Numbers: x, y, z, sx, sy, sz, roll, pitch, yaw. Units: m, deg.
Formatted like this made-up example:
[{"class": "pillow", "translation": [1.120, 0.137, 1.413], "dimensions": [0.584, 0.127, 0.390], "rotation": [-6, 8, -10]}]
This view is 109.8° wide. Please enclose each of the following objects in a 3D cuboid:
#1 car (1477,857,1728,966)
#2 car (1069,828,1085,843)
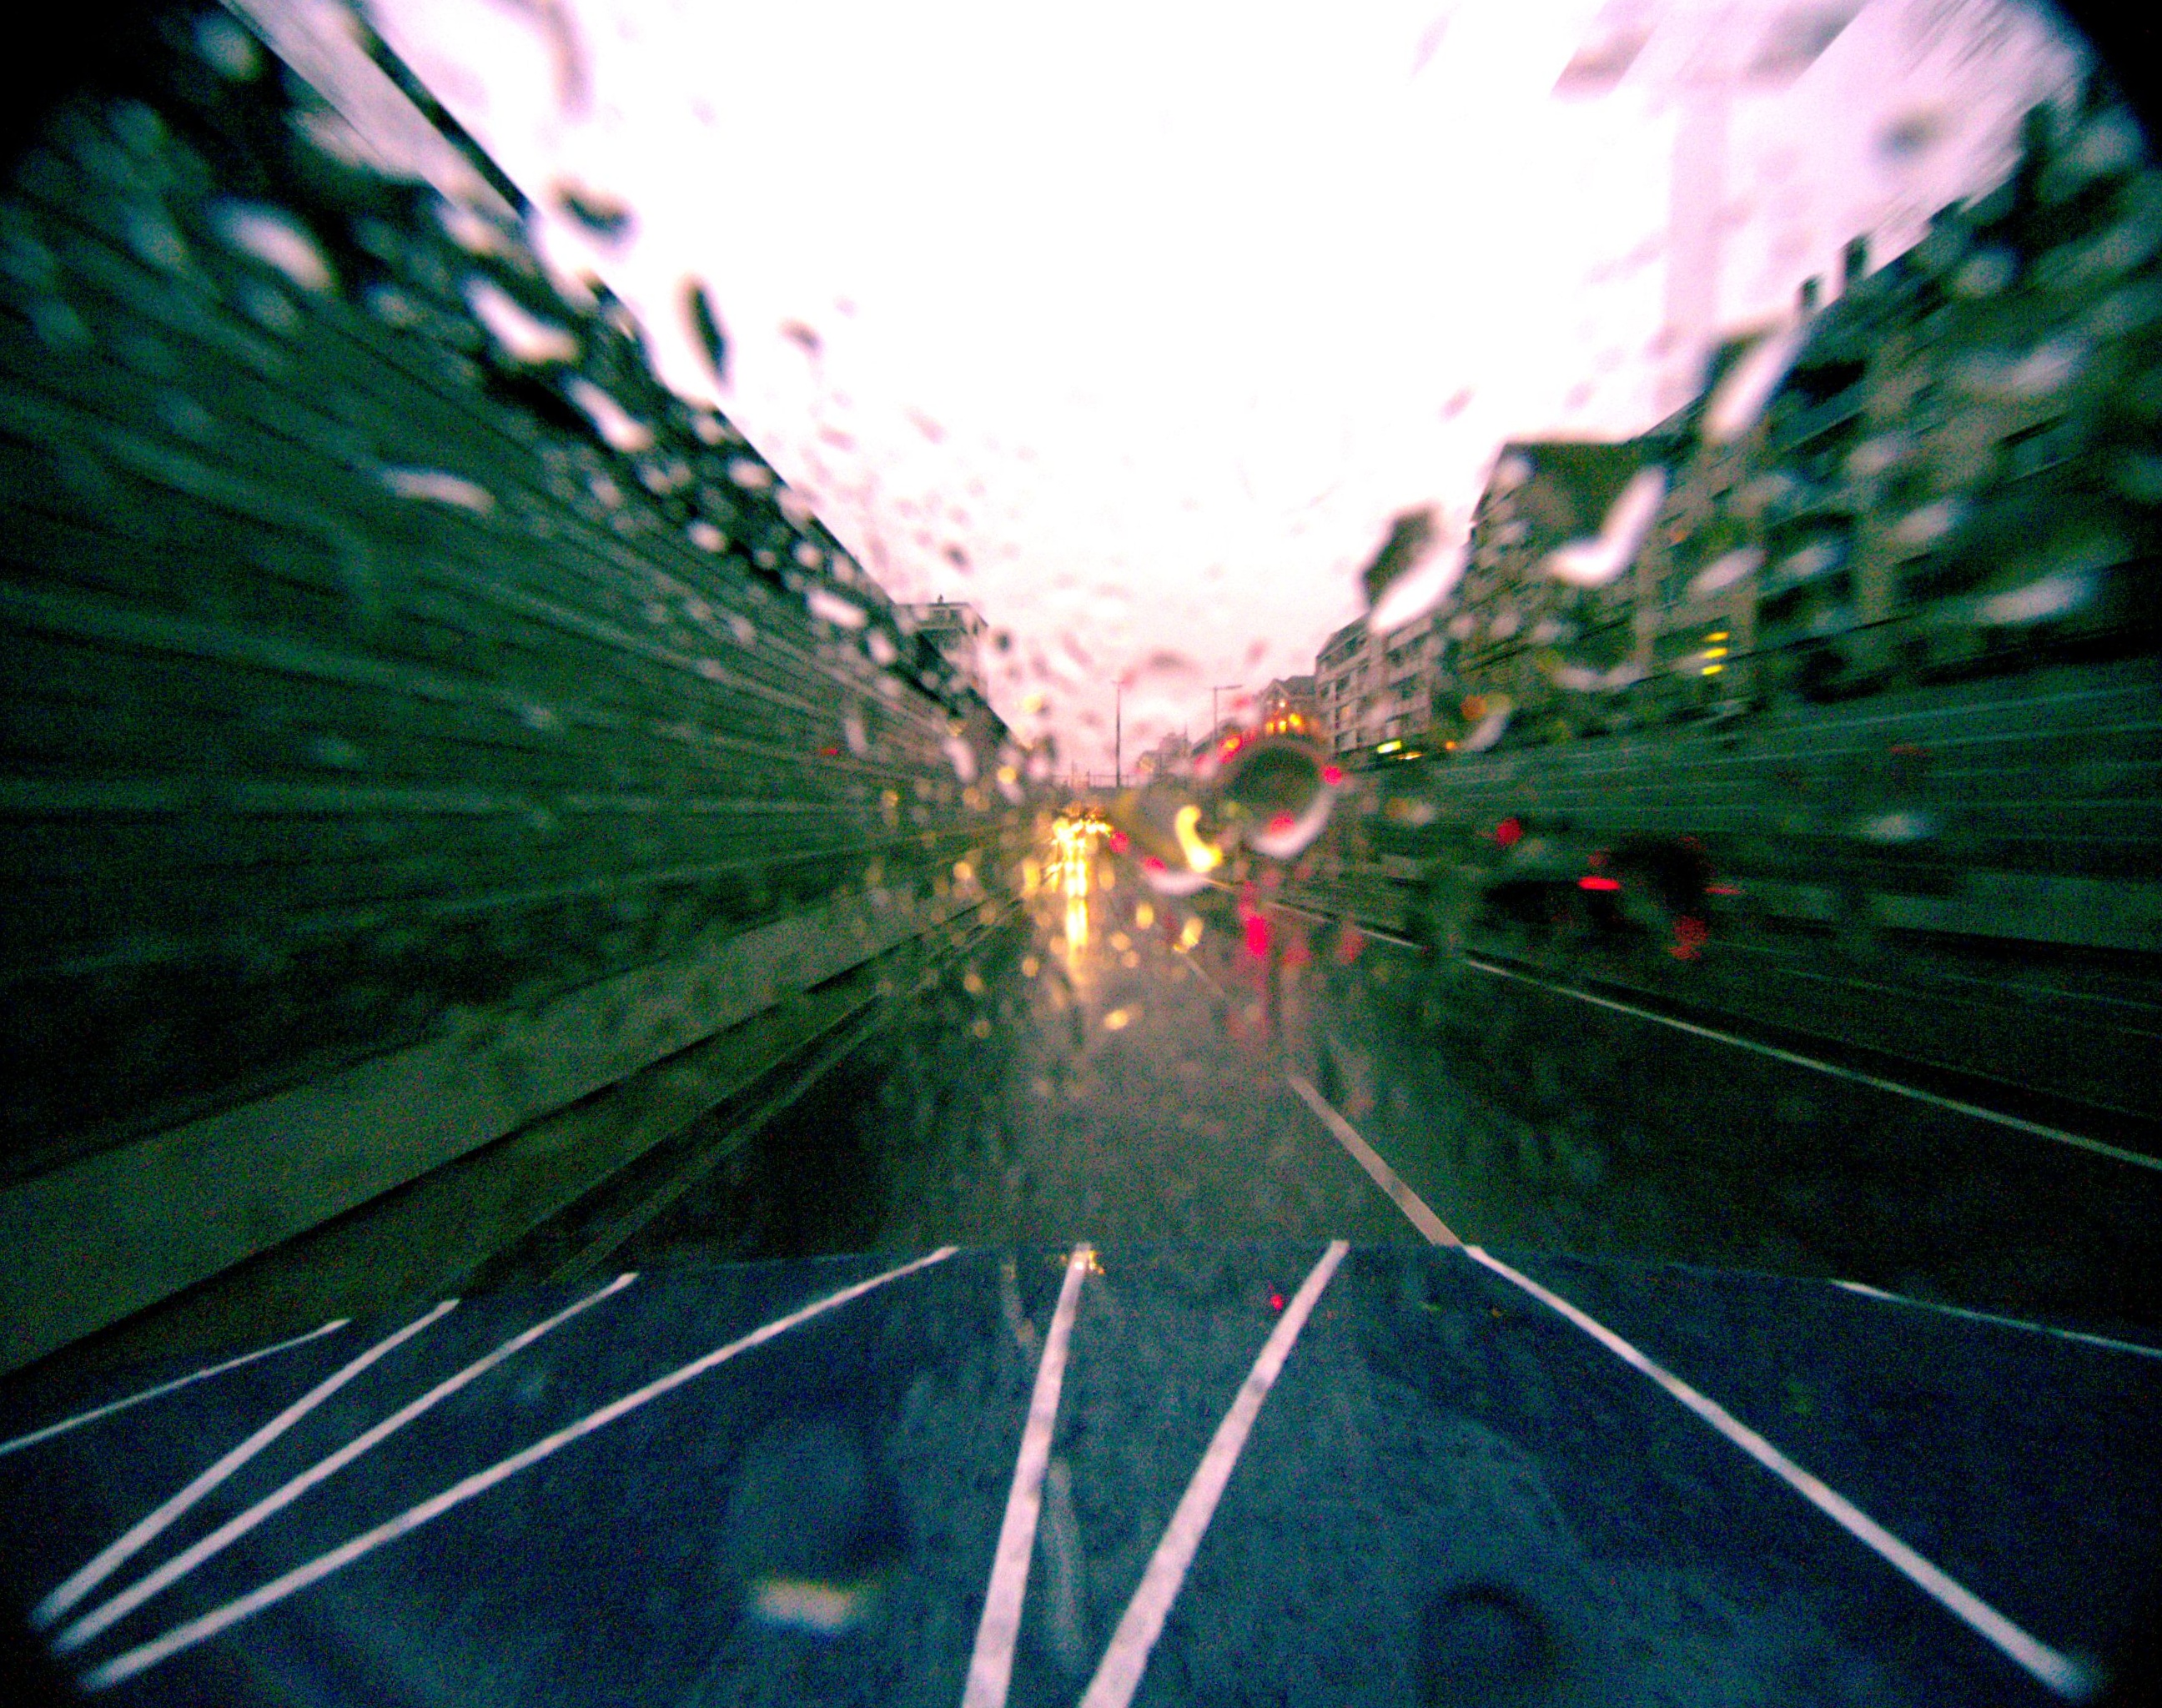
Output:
[{"class": "car", "translation": [8.204, 0.804, 12.400], "dimensions": [1.575, 1.462, 3.686], "rotation": [0, 1, 0]}, {"class": "car", "translation": [-0.588, -2.715, 110.328], "dimensions": [2.031, 2.018, 4.421], "rotation": [-2, 3, -2]}]
